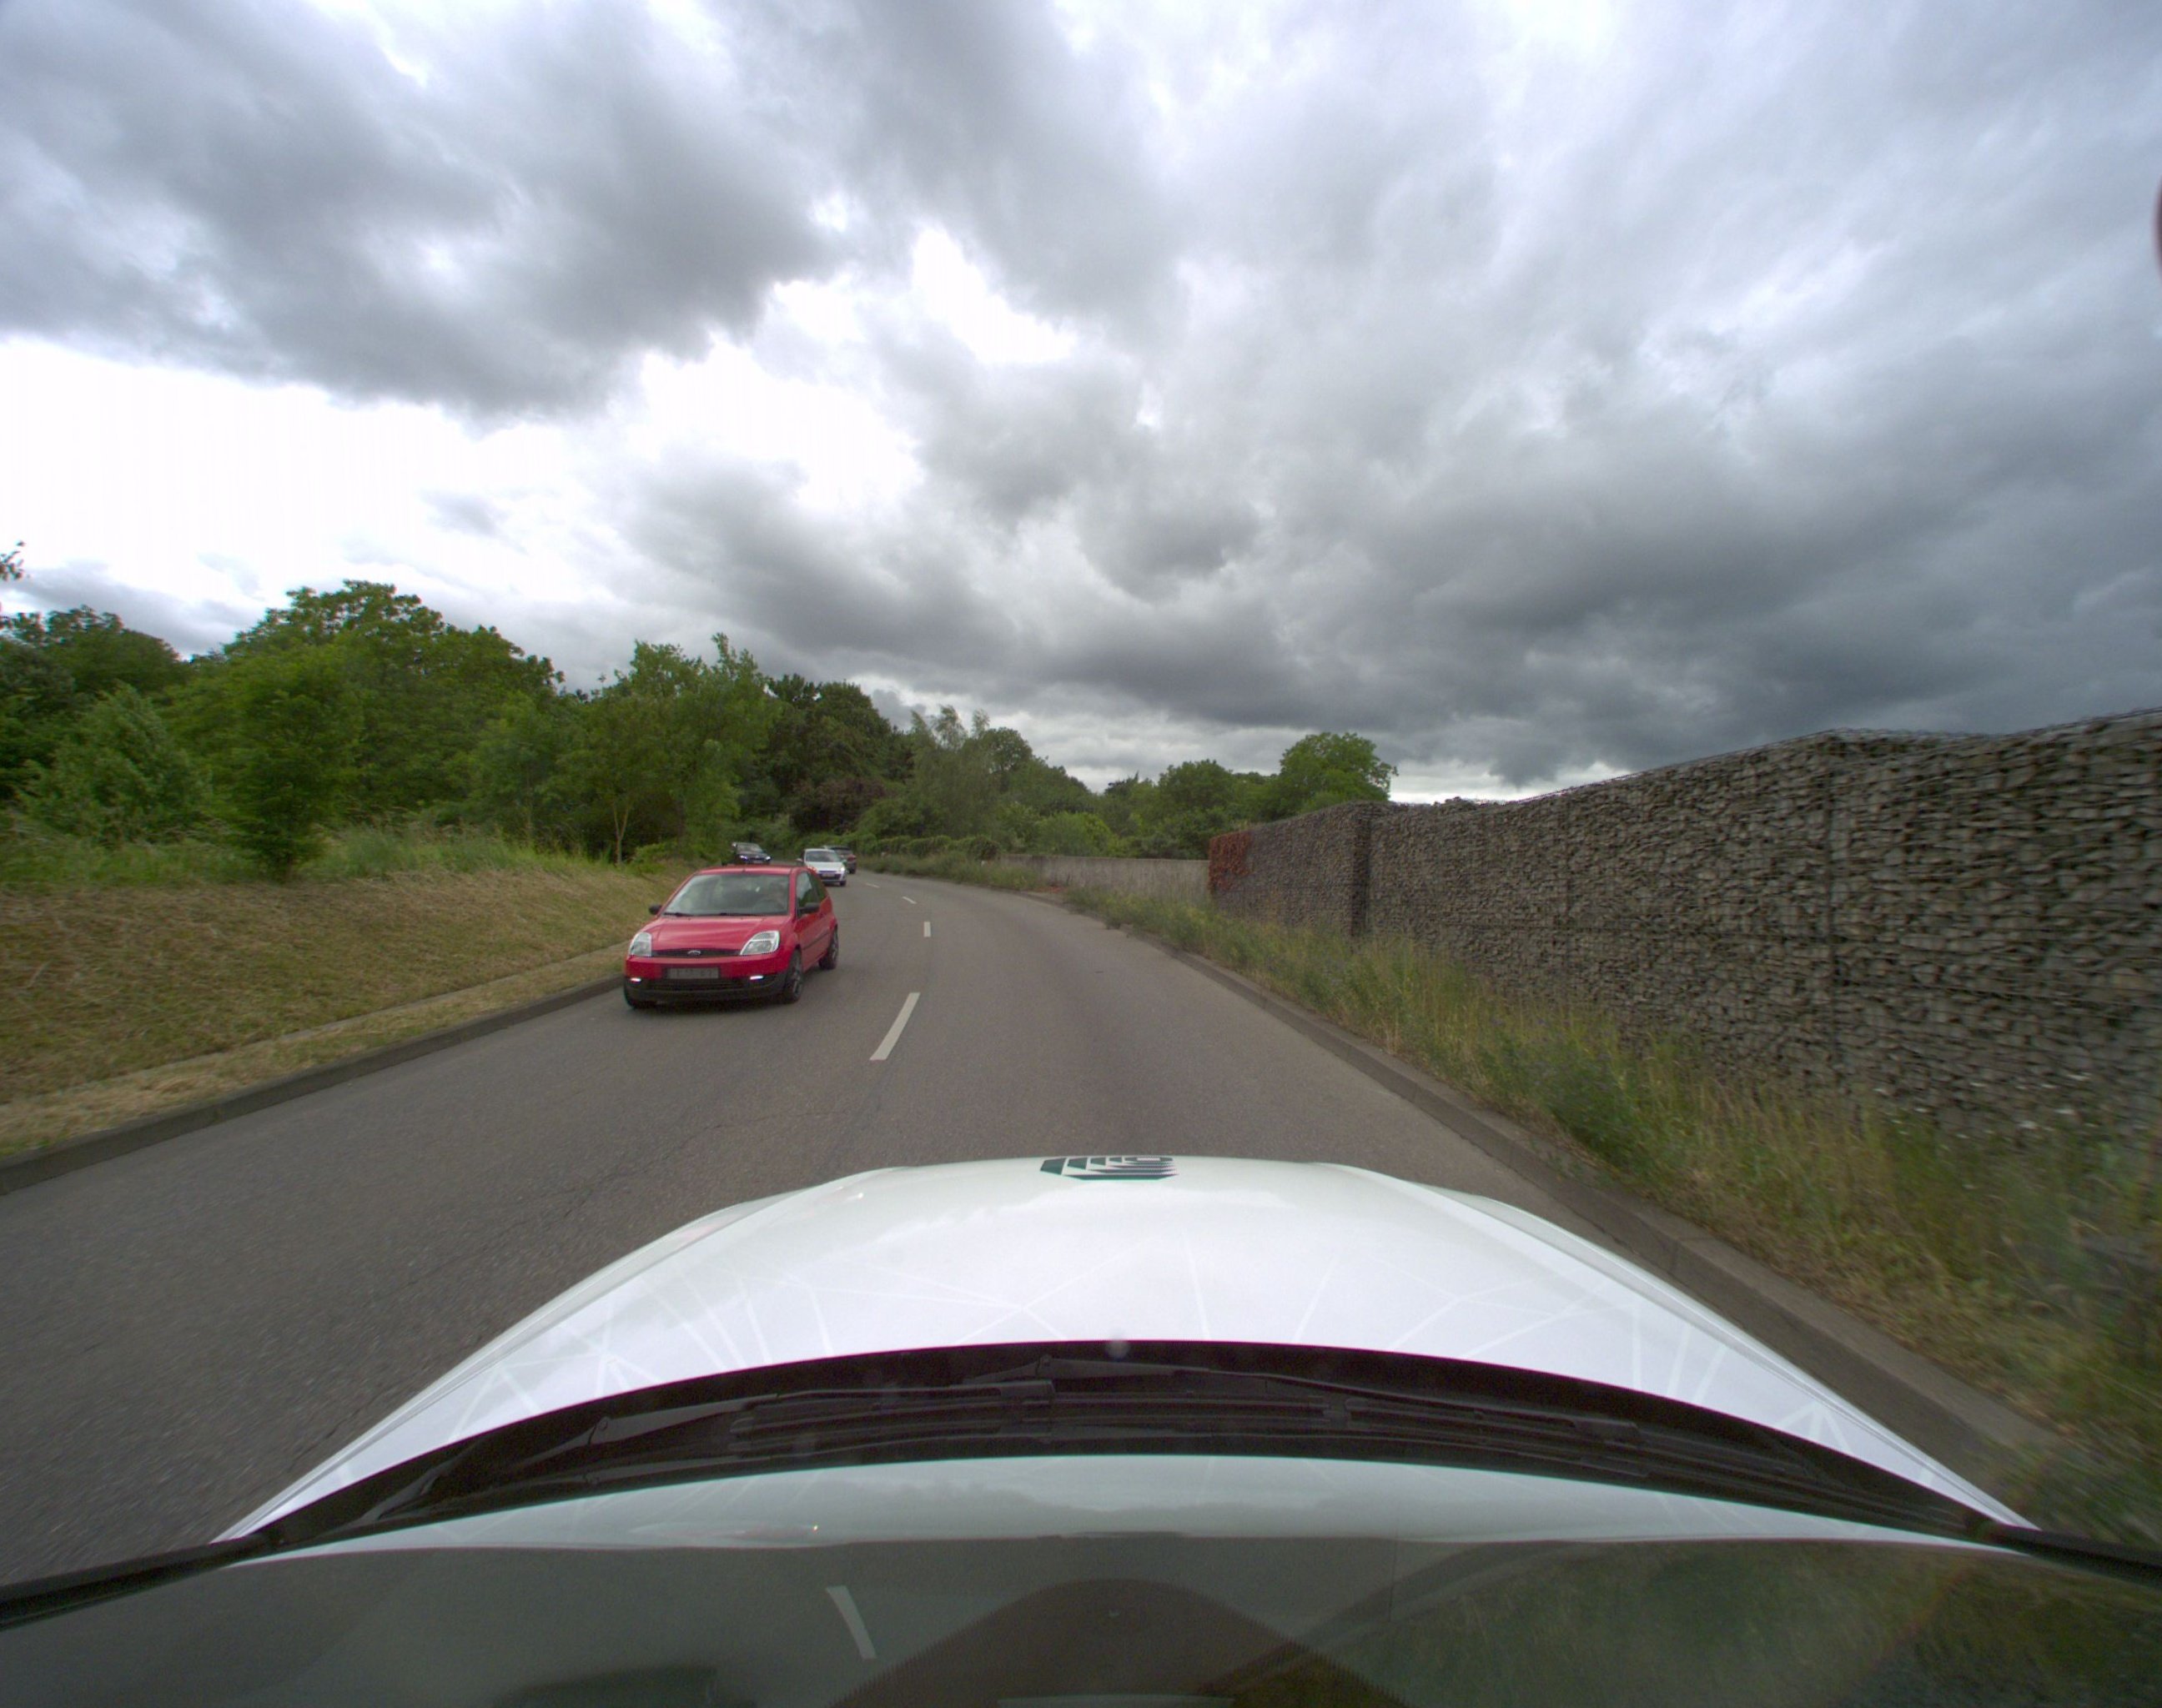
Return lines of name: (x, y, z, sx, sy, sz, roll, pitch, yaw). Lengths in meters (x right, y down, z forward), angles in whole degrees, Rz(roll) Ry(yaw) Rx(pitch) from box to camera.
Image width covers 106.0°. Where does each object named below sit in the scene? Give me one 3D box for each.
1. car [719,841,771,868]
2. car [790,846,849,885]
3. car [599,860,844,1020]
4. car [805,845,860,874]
car: (-19.403, 0.060, 46.988, 1.750, 1.495, 4.385, -1, 0, -36)
car: (-10.877, 0.467, 33.709, 1.784, 1.495, 3.880, 0, 0, -26)
car: (-4.043, 0.844, 9.838, 1.741, 1.416, 3.742, -2, 1, -9)
car: (-13.599, 0.278, 44.425, 1.853, 1.483, 3.958, -2, 1, -33)
